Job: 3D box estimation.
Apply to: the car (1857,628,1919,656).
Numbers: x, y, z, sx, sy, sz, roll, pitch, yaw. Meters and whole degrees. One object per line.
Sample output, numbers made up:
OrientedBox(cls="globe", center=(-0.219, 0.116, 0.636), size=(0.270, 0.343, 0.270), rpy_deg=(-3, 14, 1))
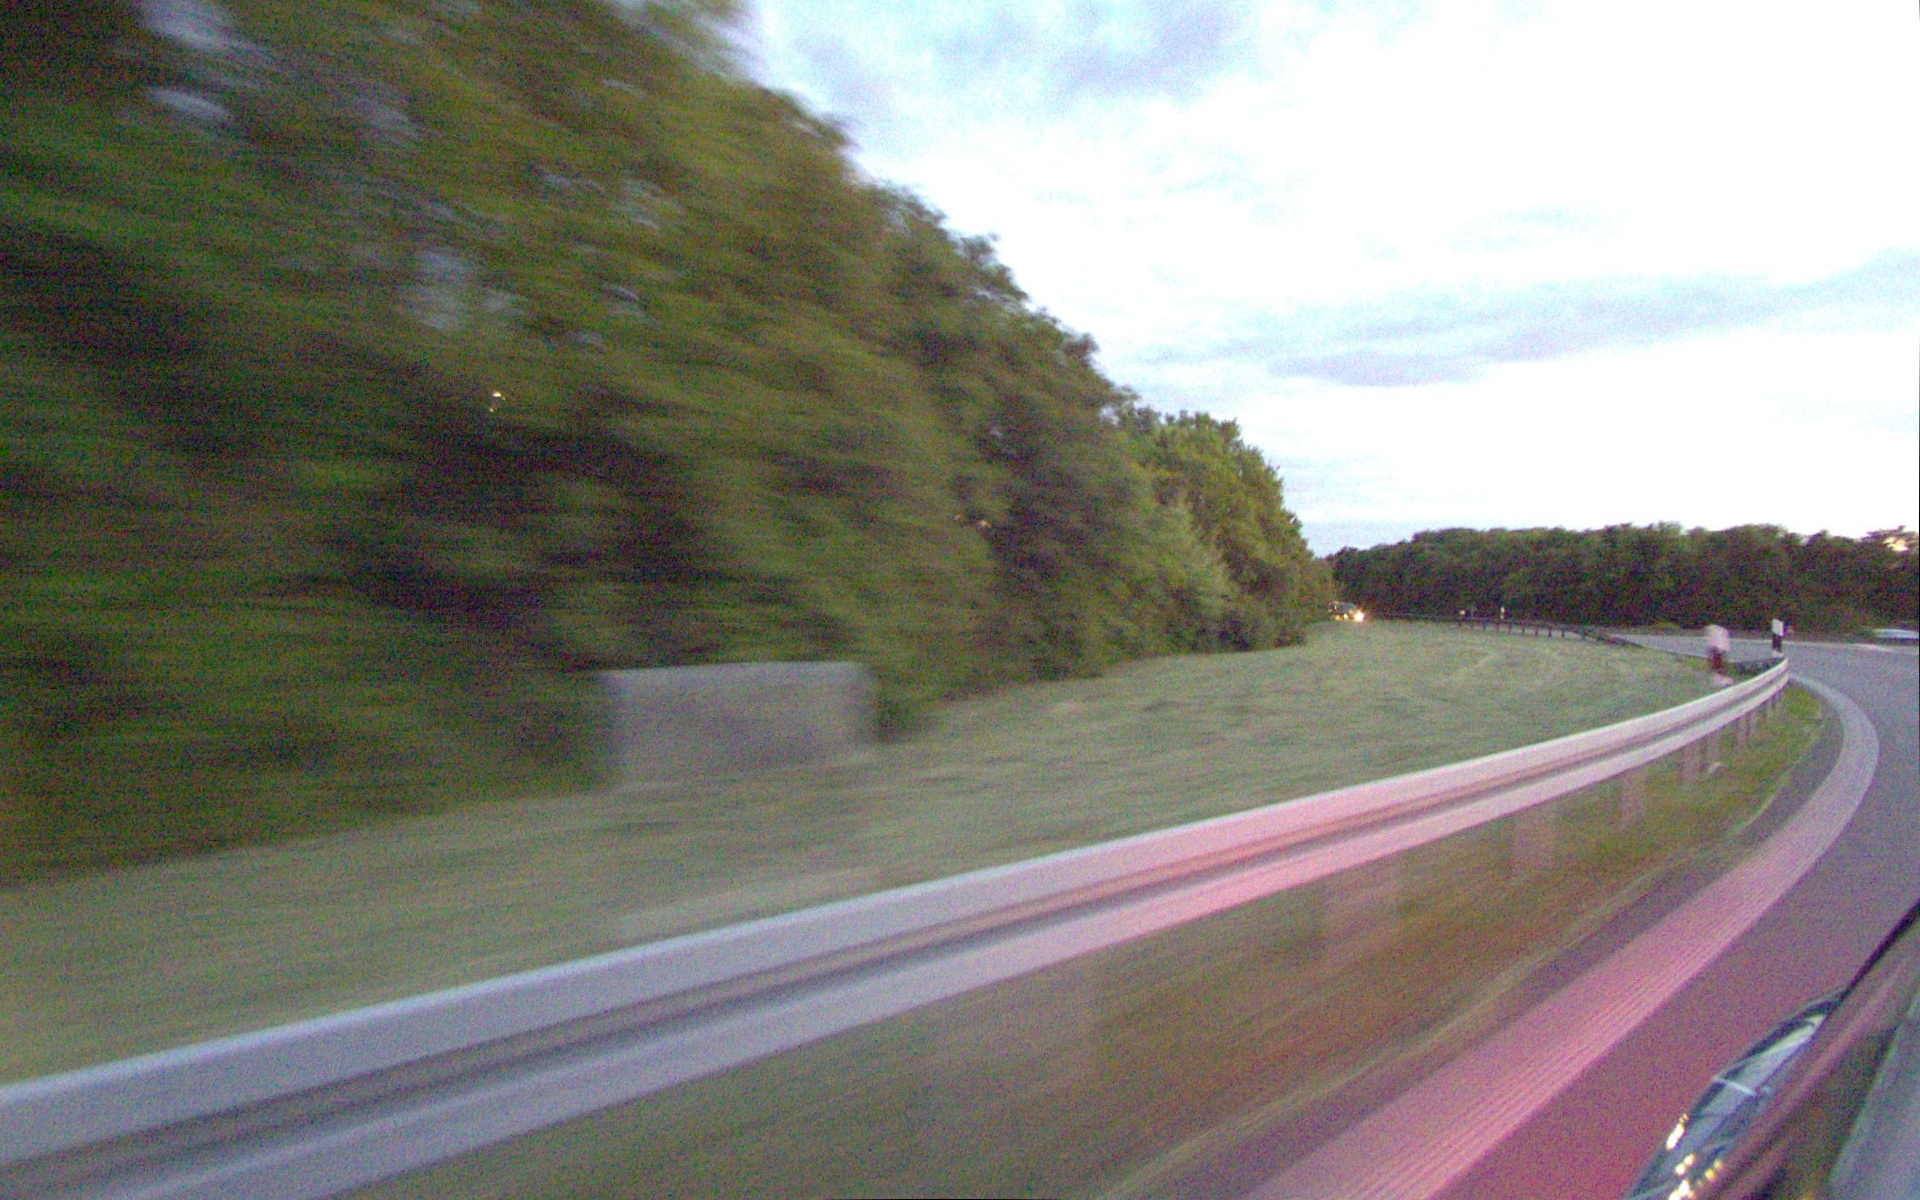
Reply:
OrientedBox(cls="car", center=(54.948, 2.419, 58.769), size=(1.961, 1.502, 4.001), rpy_deg=(-1, -1, -2))
